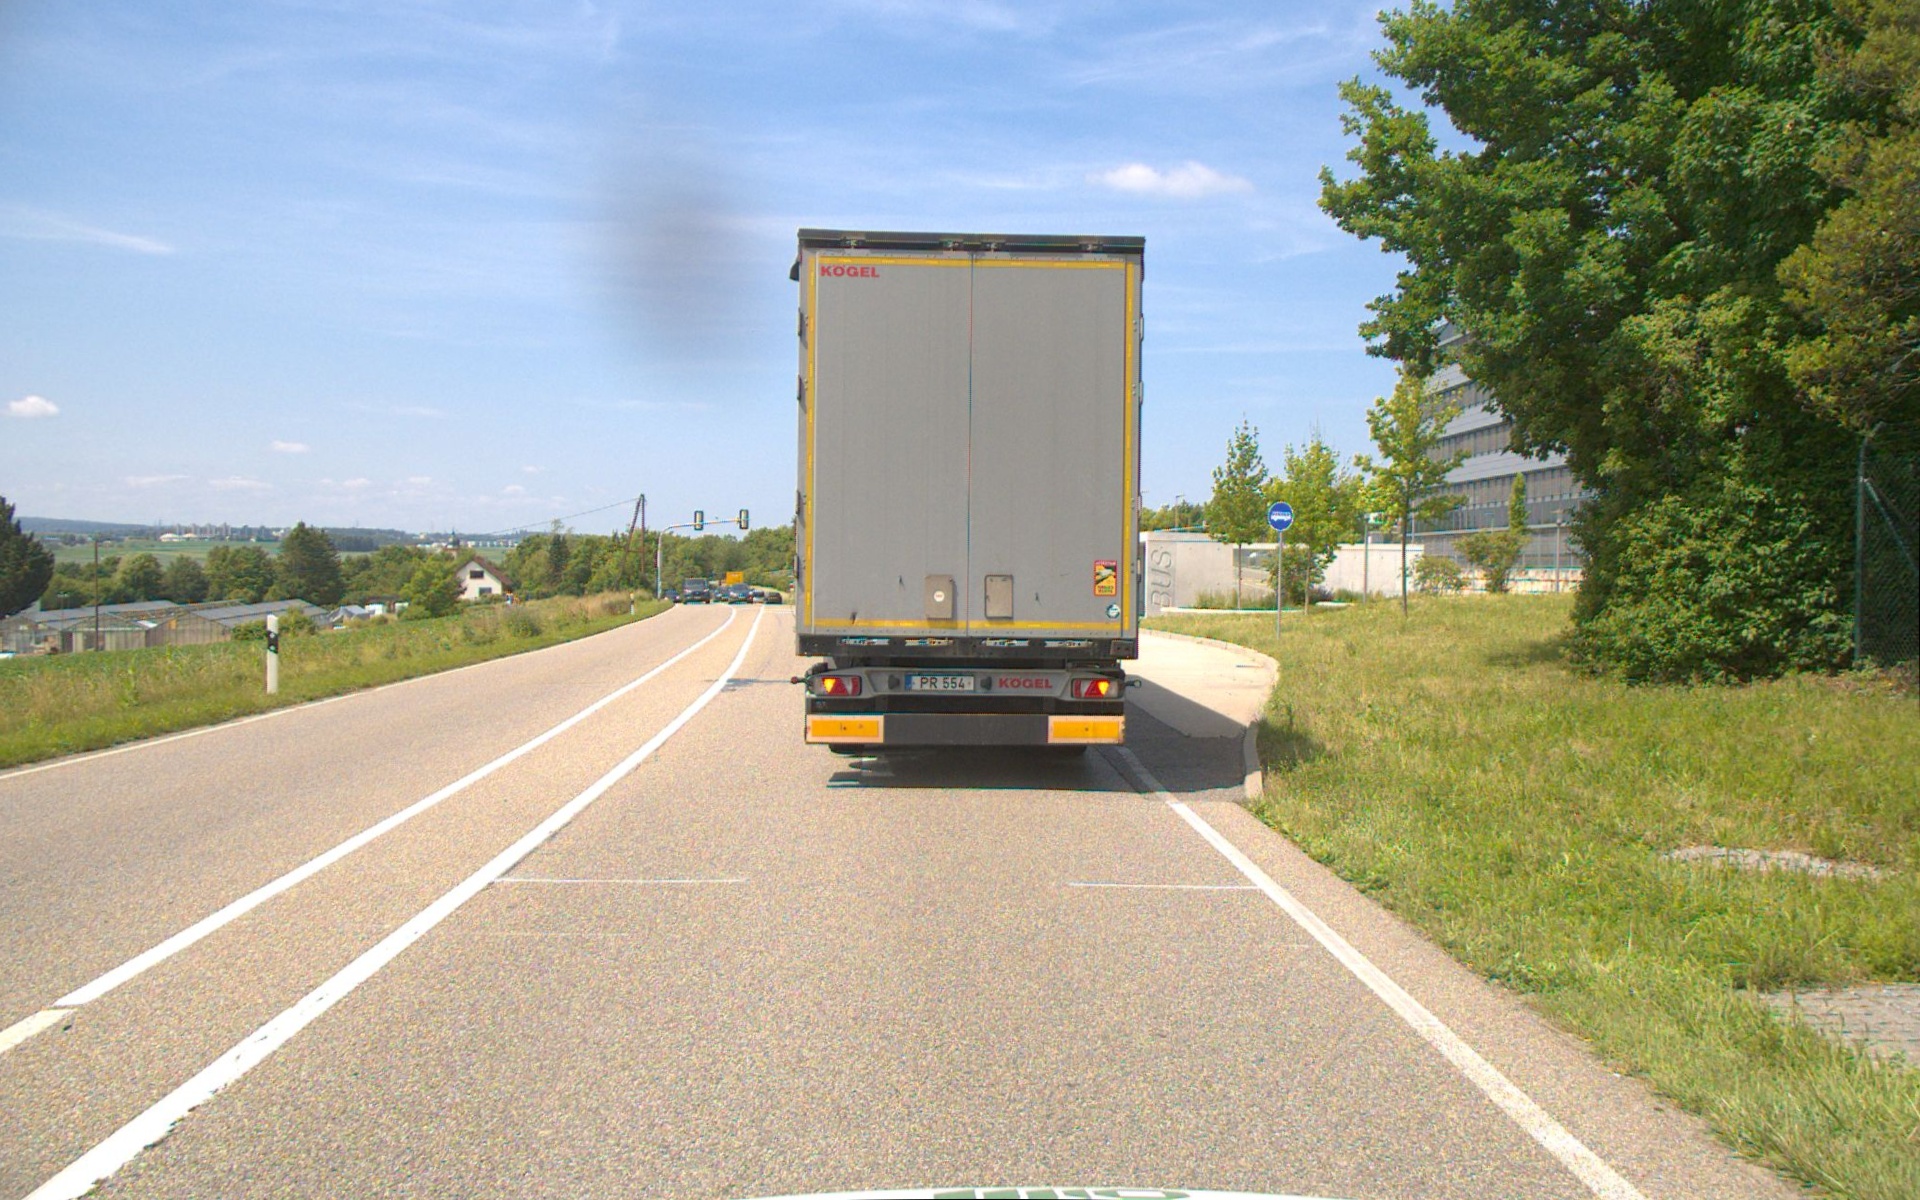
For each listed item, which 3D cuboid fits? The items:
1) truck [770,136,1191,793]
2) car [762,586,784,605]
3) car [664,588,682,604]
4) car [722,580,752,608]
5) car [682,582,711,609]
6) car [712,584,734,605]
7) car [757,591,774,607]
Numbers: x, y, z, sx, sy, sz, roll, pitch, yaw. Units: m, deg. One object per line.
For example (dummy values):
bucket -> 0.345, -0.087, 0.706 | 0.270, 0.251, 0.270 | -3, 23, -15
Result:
truck -> -0.010, -0.977, 15.877 | 2.848, 4.487, 8.857 | 1, 1, -2
car -> -20.190, -0.499, 178.318 | 2.129, 2.049, 4.522 | -2, 1, -5
car -> -33.483, -0.459, 192.920 | 1.957, 1.819, 3.992 | -2, 0, -9
car -> -16.468, -0.470, 122.282 | 1.955, 1.984, 4.498 | -2, 1, -5
car -> -20.271, -0.368, 127.239 | 1.956, 2.013, 5.271 | -2, 1, -7
car -> -21.980, -0.530, 153.504 | 1.956, 1.847, 4.289 | -2, 1, -7
car -> -23.403, -0.138, 199.030 | 1.855, 1.808, 4.382 | -2, 1, -5
